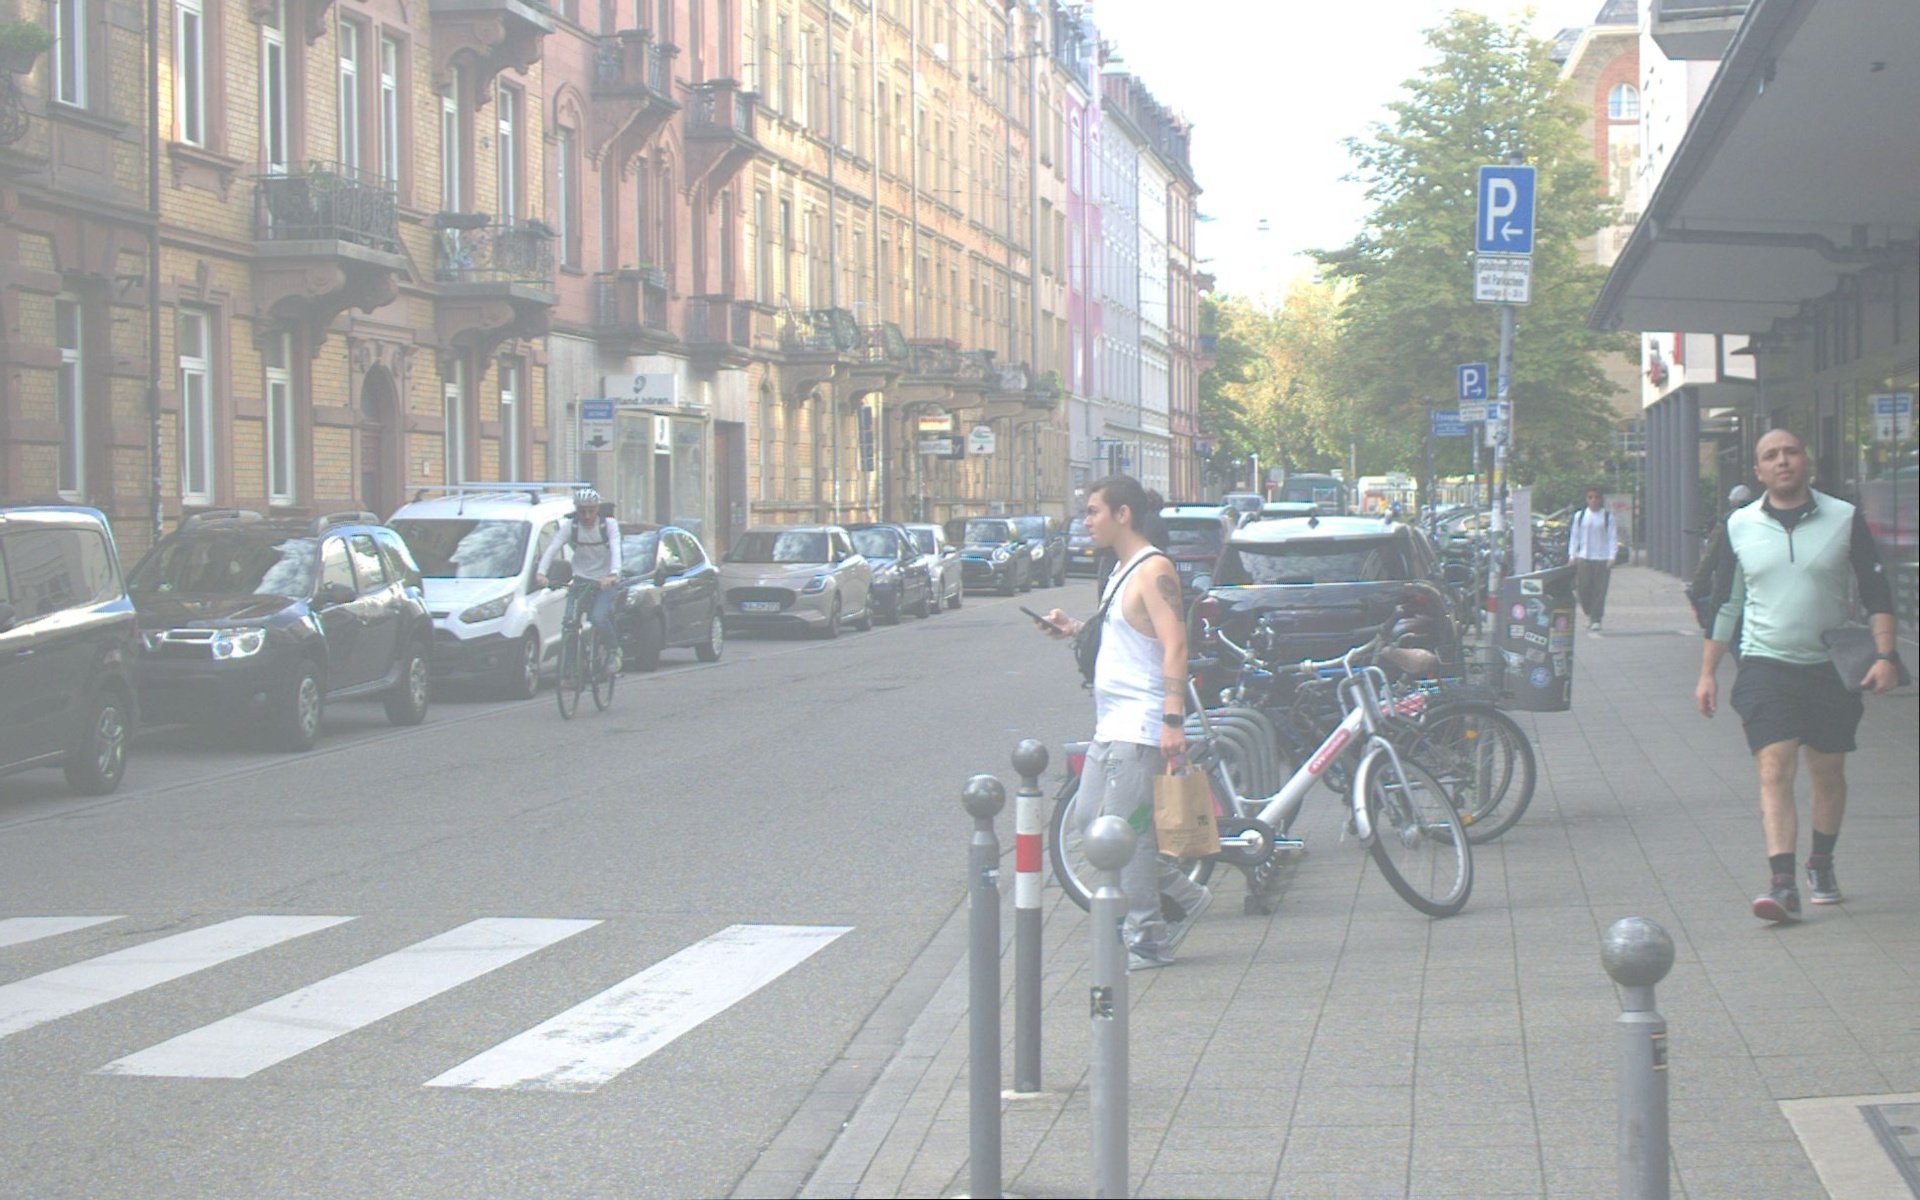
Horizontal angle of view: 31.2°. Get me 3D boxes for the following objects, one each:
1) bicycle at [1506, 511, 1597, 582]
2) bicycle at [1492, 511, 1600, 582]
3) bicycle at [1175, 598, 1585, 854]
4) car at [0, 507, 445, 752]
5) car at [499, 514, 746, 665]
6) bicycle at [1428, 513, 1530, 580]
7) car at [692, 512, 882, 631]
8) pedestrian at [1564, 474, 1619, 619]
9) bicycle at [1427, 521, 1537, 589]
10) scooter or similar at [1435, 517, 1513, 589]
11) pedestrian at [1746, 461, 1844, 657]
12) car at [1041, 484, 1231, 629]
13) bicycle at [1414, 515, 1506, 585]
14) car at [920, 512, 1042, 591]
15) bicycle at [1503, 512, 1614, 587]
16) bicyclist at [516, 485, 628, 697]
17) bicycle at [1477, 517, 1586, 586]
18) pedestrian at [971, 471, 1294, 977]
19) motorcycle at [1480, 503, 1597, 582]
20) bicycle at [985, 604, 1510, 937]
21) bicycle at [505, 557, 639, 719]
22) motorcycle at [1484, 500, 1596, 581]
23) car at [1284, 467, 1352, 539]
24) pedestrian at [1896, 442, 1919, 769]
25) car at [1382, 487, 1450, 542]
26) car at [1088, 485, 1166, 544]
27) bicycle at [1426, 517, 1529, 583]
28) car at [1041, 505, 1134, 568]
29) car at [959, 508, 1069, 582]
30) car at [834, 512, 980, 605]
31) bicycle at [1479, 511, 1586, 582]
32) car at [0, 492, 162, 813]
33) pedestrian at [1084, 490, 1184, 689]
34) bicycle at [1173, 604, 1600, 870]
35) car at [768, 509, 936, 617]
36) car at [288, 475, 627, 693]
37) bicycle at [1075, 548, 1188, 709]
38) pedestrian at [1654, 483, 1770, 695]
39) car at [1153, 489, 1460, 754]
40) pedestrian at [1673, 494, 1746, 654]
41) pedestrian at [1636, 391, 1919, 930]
[{"bbox_3d":[10.205,-0.927,59.352,1.496,1.142,0.411,-2,2,9],"label":"bicycle"},{"bbox_3d":[10.207,-0.938,59.897,1.766,1.142,0.411,-3,2,4],"label":"bicycle"},{"bbox_3d":[1.936,0.574,15.976,1.788,1.067,0.587,-3,2,-1],"label":"bicycle"},{"bbox_3d":[-5.394,0.144,25.649,1.994,1.632,4.144,1,2,8],"label":"car"},{"bbox_3d":[-3.567,-0.159,36.970,1.742,1.478,3.982,2,2,8],"label":"car"},{"bbox_3d":[9.616,-0.986,63.671,1.795,1.155,0.500,-2,2,12],"label":"bicycle"},{"bbox_3d":[-2.263,-0.416,45.965,1.742,1.478,3.982,2,2,9],"label":"car"},{"bbox_3d":[7.646,-0.655,41.639,0.612,1.720,1.126,-1,2,10],"label":"pedestrian"},{"bbox_3d":[8.820,-0.760,58.138,1.766,1.053,0.411,-3,2,4],"label":"bicycle"},{"bbox_3d":[8.594,-0.786,57.463,1.208,1.143,0.378,-2,3,41],"label":"scooter or similar"},{"bbox_3d":[8.017,-0.399,32.999,0.709,1.854,0.643,1,2,38],"label":"pedestrian"},{"bbox_3d":[2.279,-0.557,43.483,1.965,1.734,4.040,0,1,9],"label":"car"},{"bbox_3d":[8.662,-0.864,59.548,1.495,1.142,0.411,-3,2,4],"label":"bicycle"},{"bbox_3d":[0.427,-0.921,63.723,1.691,1.382,3.866,2,2,9],"label":"car"},{"bbox_3d":[10.021,-0.847,57.530,1.766,1.158,0.650,-2,2,11],"label":"bicycle"},{"bbox_3d":[-3.134,-0.087,27.843,0.700,1.672,1.112,0,2,4],"label":"bicyclist"},{"bbox_3d":[9.751,-0.830,58.635,1.766,1.083,0.650,-2,2,11],"label":"bicycle"},{"bbox_3d":[0.606,0.406,11.774,1.019,1.665,0.804,-1,1,8],"label":"pedestrian"},{"bbox_3d":[11.231,-1.116,66.725,2.151,1.430,0.765,-2,2,14],"label":"motorcycle"},{"bbox_3d":[1.111,0.639,13.189,1.883,1.121,0.907,-3,1,7],"label":"bicycle"},{"bbox_3d":[-3.123,0.283,27.837,0.700,1.216,2.117,0,2,4],"label":"bicycle"},{"bbox_3d":[11.761,-1.214,69.710,2.151,1.525,0.686,-2,2,14],"label":"motorcycle"},{"bbox_3d":[10.336,-2.802,99.122,1.782,2.013,3.887,1,2,8],"label":"car"},{"bbox_3d":[5.413,0.018,18.159,0.714,1.741,0.817,-3,1,7],"label":"pedestrian"},{"bbox_3d":[13.961,-2.627,105.149,1.931,1.632,3.999,1,2,9],"label":"car"},{"bbox_3d":[4.525,-2.303,92.616,1.690,1.545,3.866,1,1,8],"label":"car"},{"bbox_3d":[9.329,-0.900,62.001,1.766,1.095,0.411,-2,2,12],"label":"bicycle"},{"bbox_3d":[2.993,-1.493,80.056,1.691,1.364,3.866,3,2,9],"label":"car"},{"bbox_3d":[1.121,-1.142,69.927,1.691,1.432,3.866,2,2,9],"label":"car"},{"bbox_3d":[-0.810,-0.694,55.126,1.691,1.382,3.866,2,2,9],"label":"car"},{"bbox_3d":[10.063,-0.942,60.430,1.765,1.142,0.411,-3,2,-11],"label":"bicycle"},{"bbox_3d":[-6.179,0.277,19.493,1.760,1.767,4.405,2,2,8],"label":"car"},{"bbox_3d":[1.478,-0.102,29.049,0.718,1.644,0.930,1,2,10],"label":"pedestrian"},{"bbox_3d":[1.891,0.601,15.365,1.788,1.067,0.569,-3,2,-1],"label":"bicycle"},{"bbox_3d":[-1.542,-0.574,50.465,1.742,1.478,3.982,2,2,9],"label":"car"},{"bbox_3d":[-4.531,-0.211,31.724,1.920,1.865,4.436,0,2,8],"label":"car"},{"bbox_3d":[1.461,0.217,28.981,0.718,1.270,1.883,1,2,10],"label":"bicycle"},{"bbox_3d":[5.737,-0.089,26.266,0.824,1.583,0.780,-1,1,11],"label":"pedestrian"},{"bbox_3d":[2.484,0.083,23.842,1.793,1.600,3.923,-3,1,9],"label":"car"},{"bbox_3d":[7.633,-0.270,35.023,0.644,1.583,0.780,-2,1,11],"label":"pedestrian"},{"bbox_3d":[2.963,0.203,12.340,0.885,1.828,1.046,-2,1,17],"label":"pedestrian"}]
